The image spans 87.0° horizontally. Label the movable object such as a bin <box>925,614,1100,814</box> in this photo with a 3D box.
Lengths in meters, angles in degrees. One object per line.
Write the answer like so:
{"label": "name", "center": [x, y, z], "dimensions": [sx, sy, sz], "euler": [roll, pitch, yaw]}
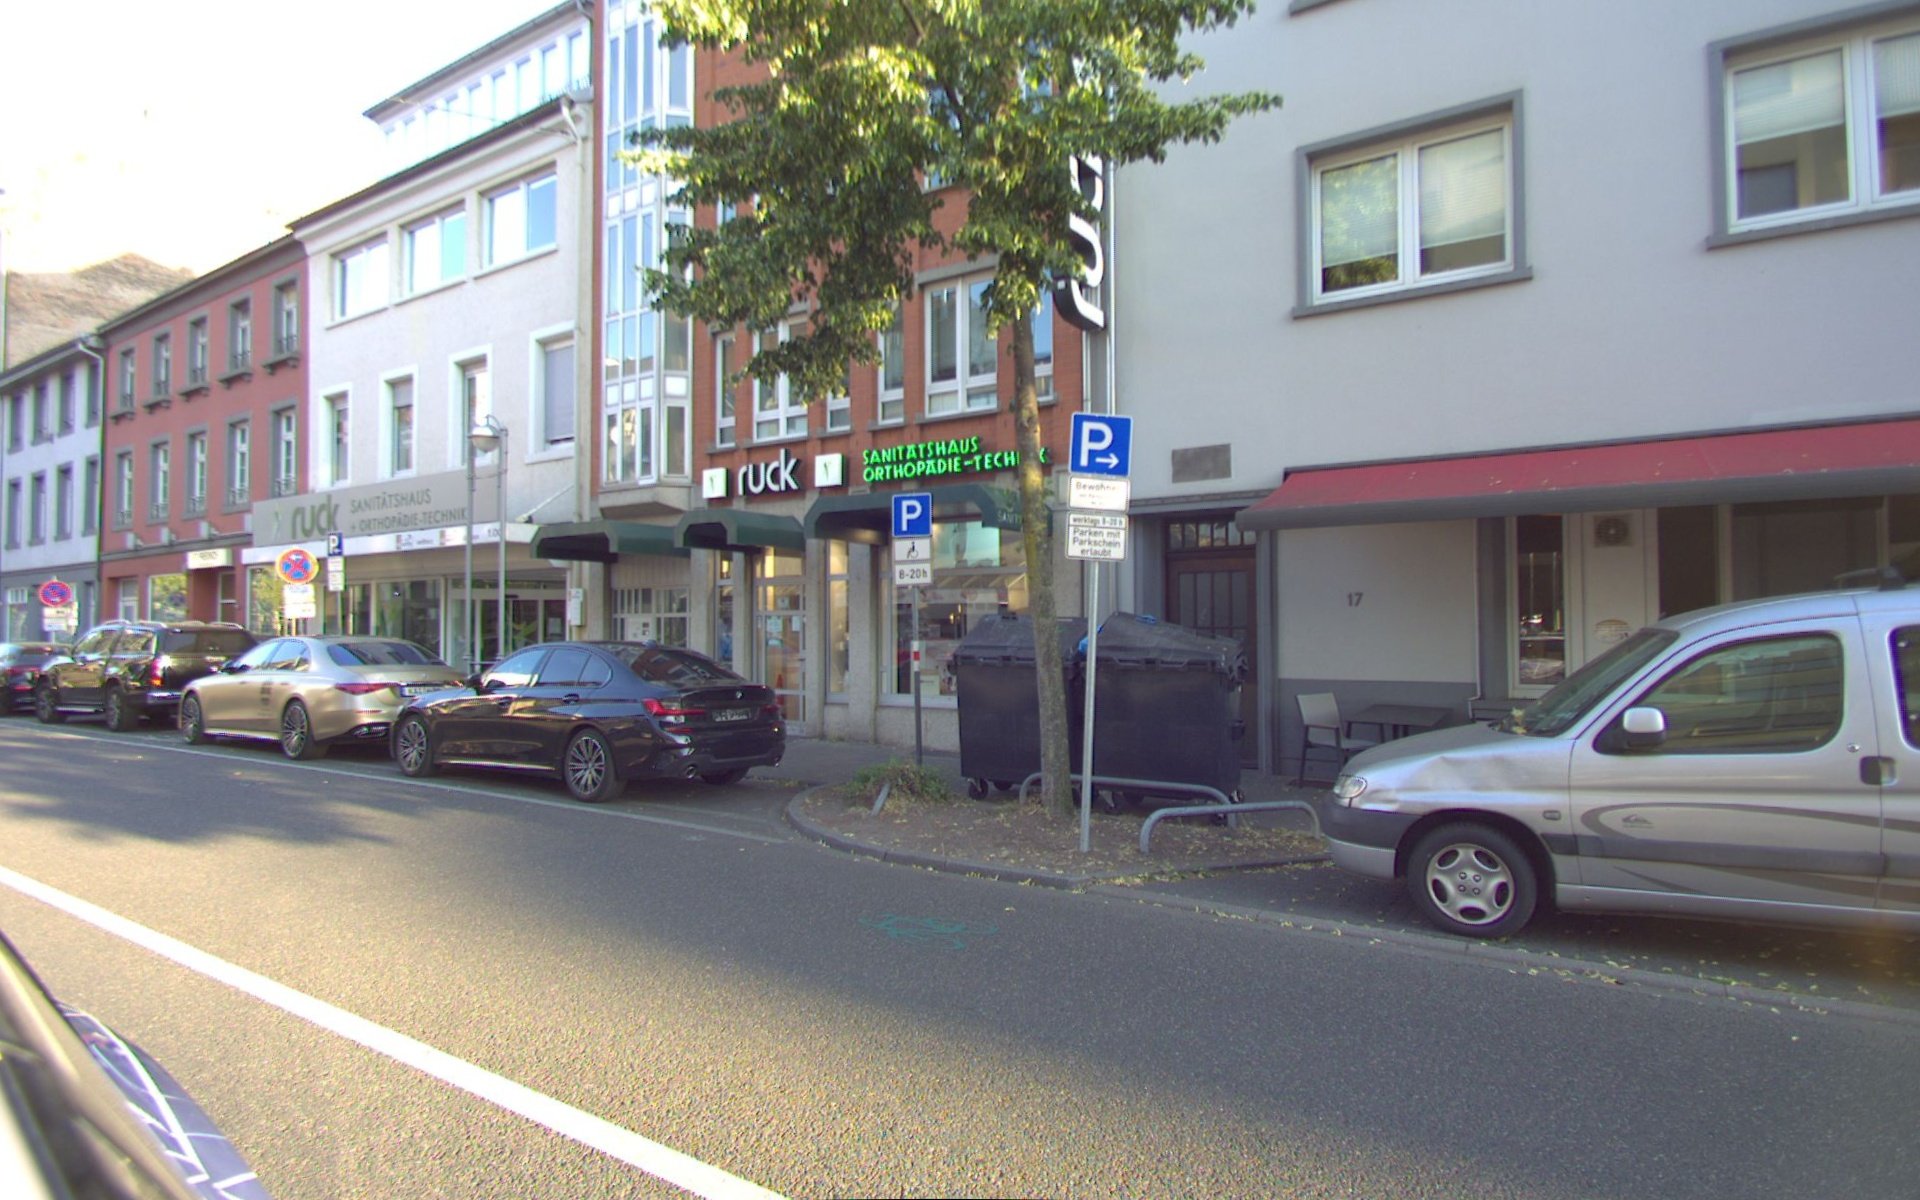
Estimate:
{"label": "movable object such as a bin", "center": [0.468, 0.954, 9.009], "dimensions": [1.331, 1.632, 0.775], "euler": [-1, -1, 30]}

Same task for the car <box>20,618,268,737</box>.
{"label": "car", "center": [-14.048, 1.279, 17.344], "dimensions": [4.921, 1.793, 1.708], "euler": [-2, -4, 31]}

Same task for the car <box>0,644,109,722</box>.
{"label": "car", "center": [-19.264, 1.654, 20.663], "dimensions": [4.001, 1.448, 1.688], "euler": [-2, -5, 32]}

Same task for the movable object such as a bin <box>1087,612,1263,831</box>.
{"label": "movable object such as a bin", "center": [1.759, 0.933, 8.261], "dimensions": [1.203, 1.632, 0.775], "euler": [-1, 0, 30]}

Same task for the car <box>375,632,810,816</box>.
{"label": "car", "center": [-3.792, 1.110, 10.154], "dimensions": [4.528, 1.484, 1.706], "euler": [-2, -5, 33]}

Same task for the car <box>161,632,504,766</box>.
{"label": "car", "center": [-8.447, 1.219, 13.468], "dimensions": [5.094, 1.484, 1.977], "euler": [-2, -4, 34]}

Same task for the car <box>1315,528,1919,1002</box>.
{"label": "car", "center": [4.004, 0.712, 4.972], "dimensions": [4.038, 1.902, 1.657], "euler": [-1, -4, 31]}
